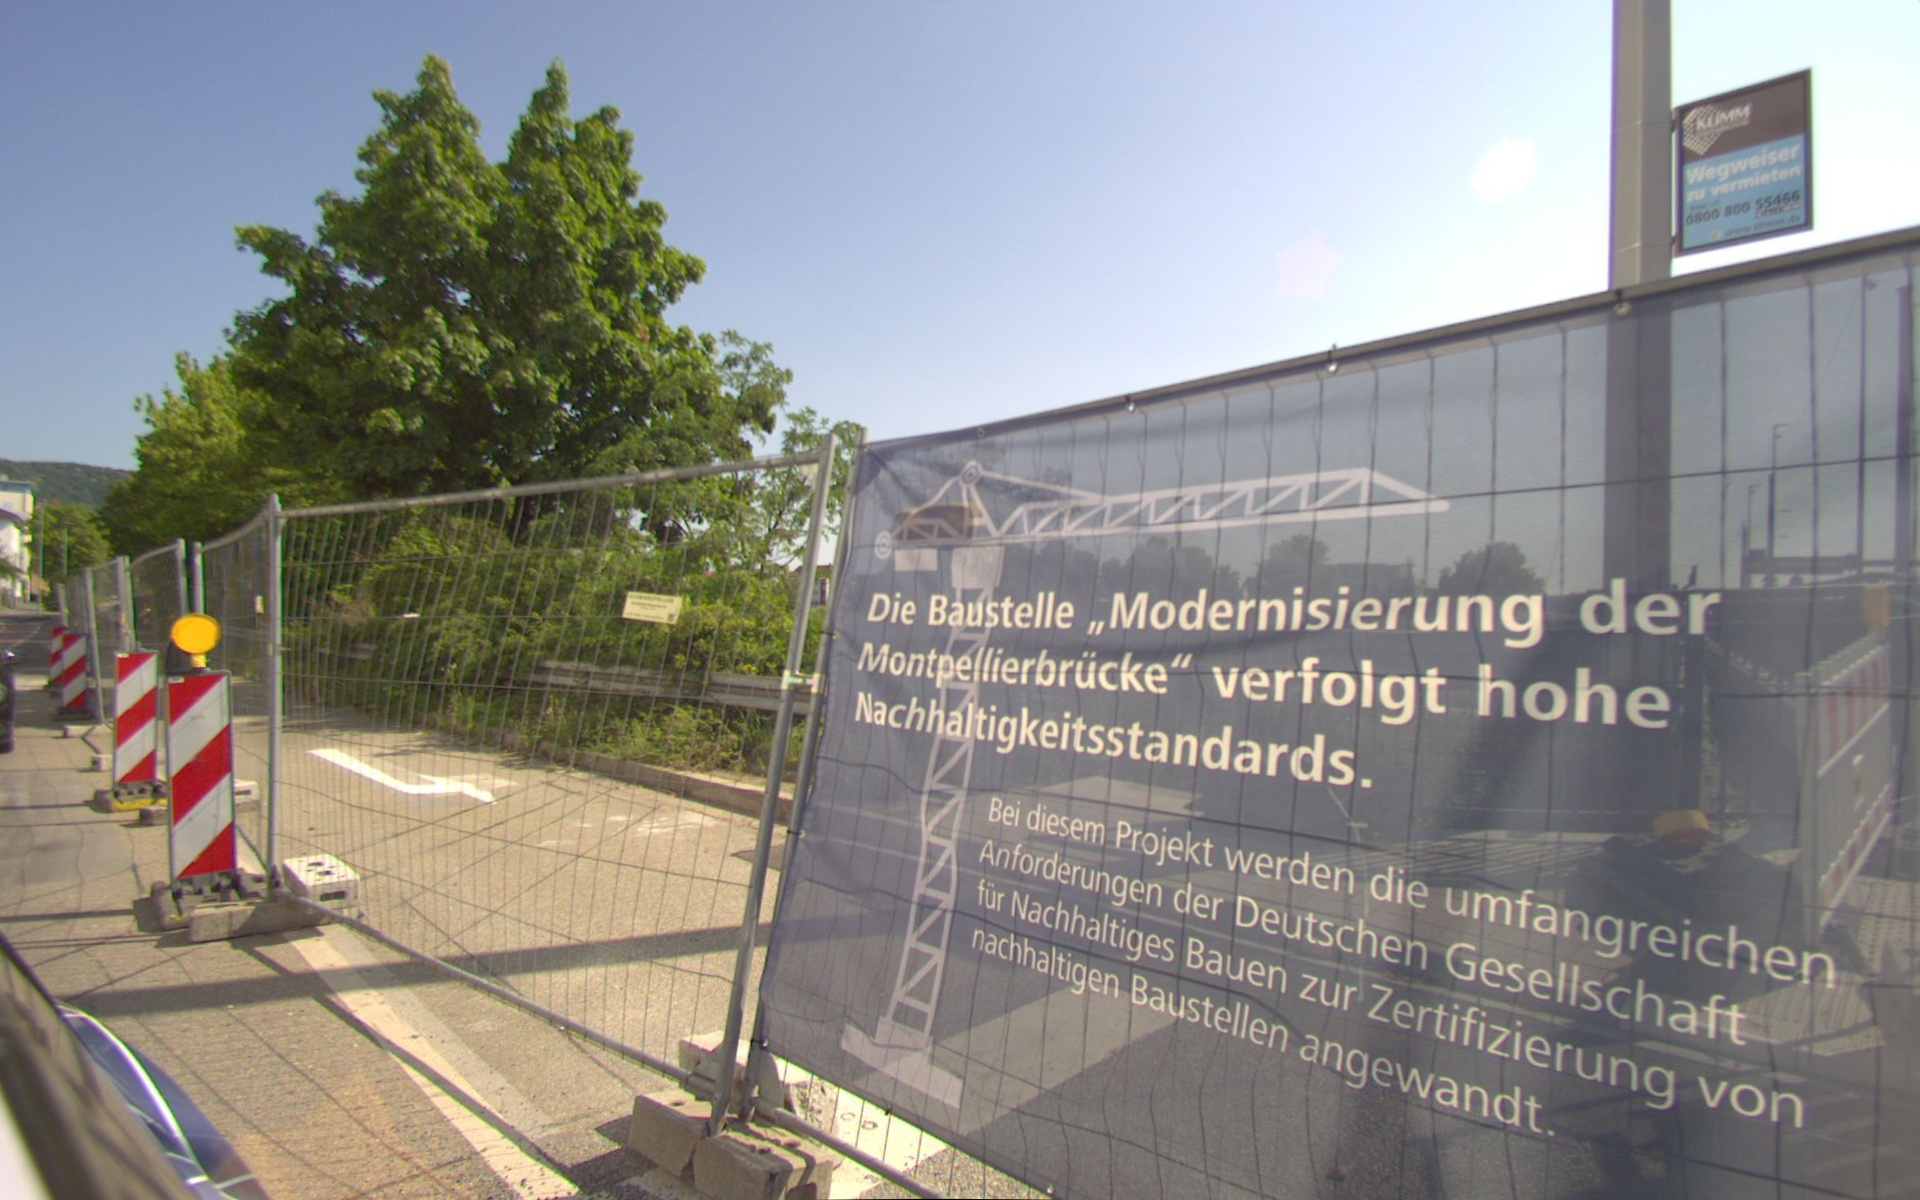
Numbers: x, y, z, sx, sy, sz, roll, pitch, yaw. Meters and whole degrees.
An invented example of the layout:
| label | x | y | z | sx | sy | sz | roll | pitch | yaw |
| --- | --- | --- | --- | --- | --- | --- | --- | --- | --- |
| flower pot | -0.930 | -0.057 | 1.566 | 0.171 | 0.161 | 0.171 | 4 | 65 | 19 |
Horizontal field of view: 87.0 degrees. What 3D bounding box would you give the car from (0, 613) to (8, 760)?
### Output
| label | x | y | z | sx | sy | sz | roll | pitch | yaw |
| --- | --- | --- | --- | --- | --- | --- | --- | --- | --- |
| car | -11.567 | 0.850 | 10.983 | 1.679 | 1.419 | 4.625 | 1 | -1 | -45 |
